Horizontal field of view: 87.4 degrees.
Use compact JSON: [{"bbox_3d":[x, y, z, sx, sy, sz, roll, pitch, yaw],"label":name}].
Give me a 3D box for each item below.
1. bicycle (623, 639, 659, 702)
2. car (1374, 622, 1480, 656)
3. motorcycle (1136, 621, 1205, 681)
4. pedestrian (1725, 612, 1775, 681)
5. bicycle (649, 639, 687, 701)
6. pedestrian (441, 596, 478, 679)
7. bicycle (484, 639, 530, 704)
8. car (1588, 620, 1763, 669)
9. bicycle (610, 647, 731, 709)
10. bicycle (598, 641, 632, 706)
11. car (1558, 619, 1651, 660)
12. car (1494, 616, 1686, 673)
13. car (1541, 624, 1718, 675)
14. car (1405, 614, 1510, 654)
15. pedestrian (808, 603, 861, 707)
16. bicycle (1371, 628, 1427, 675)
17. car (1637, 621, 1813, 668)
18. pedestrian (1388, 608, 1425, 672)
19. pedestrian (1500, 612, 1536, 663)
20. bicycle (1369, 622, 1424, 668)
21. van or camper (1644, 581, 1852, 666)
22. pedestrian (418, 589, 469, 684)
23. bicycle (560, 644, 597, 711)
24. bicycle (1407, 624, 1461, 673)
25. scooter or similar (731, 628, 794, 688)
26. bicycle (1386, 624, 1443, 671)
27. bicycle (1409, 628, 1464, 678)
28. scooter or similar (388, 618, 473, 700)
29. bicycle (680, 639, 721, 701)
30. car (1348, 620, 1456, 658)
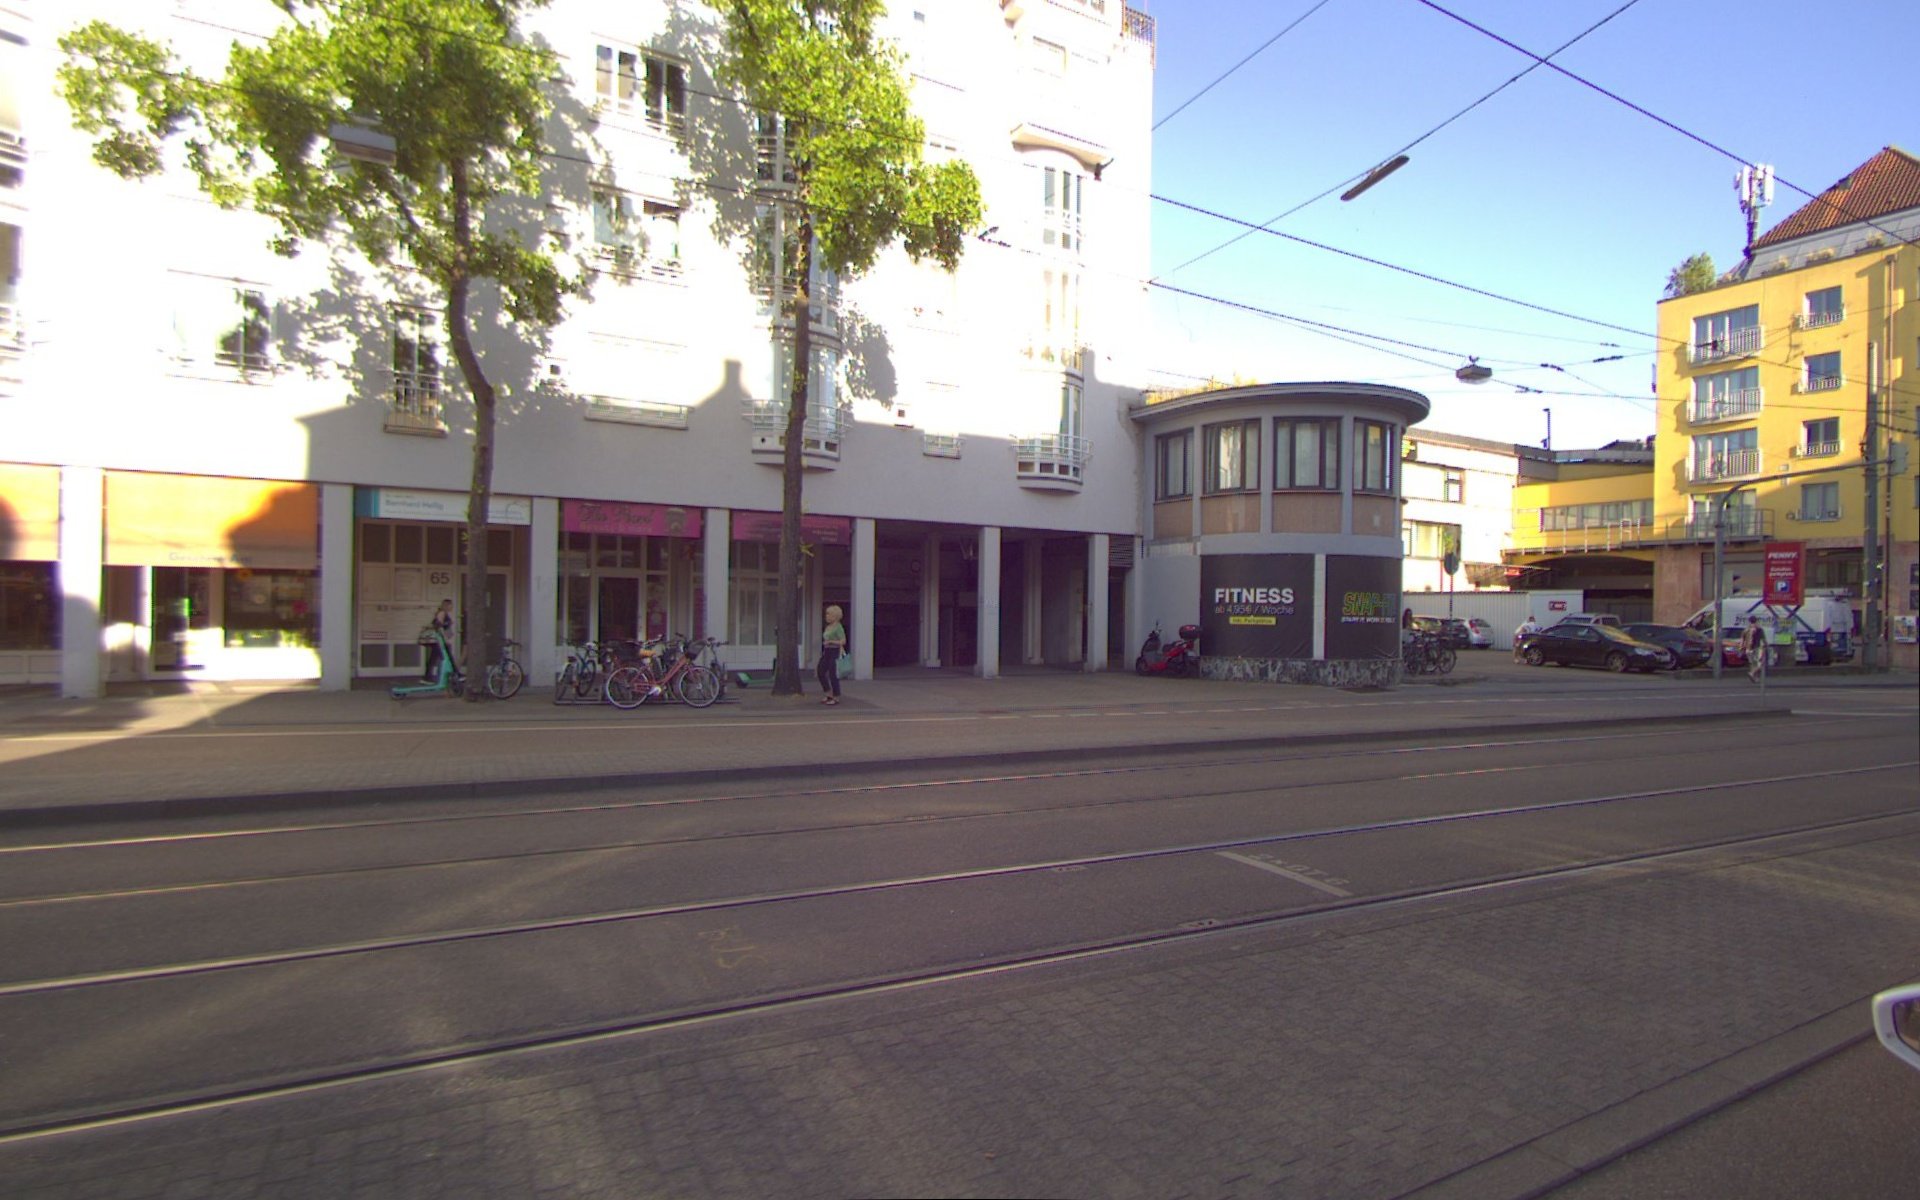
[{"bbox_3d":[-5.469,1.176,17.182,0.384,0.924,1.840,1,1,-23],"label":"bicycle"},{"bbox_3d":[21.230,1.755,45.815,1.978,1.372,3.966,1,0,-31],"label":"car"},{"bbox_3d":[5.034,1.198,24.141,0.555,1.296,1.746,0,2,-31],"label":"motorcycle"},{"bbox_3d":[21.925,1.266,27.870,0.898,1.857,0.829,0,0,-30],"label":"pedestrian"},{"bbox_3d":[-5.076,1.189,17.425,0.384,0.924,1.840,1,1,-23],"label":"bicycle"},{"bbox_3d":[-9.876,0.727,19.820,0.624,1.597,0.557,1,0,-28],"label":"pedestrian"},{"bbox_3d":[-7.535,1.162,16.669,0.414,0.924,1.760,1,1,-33],"label":"bicycle"},{"bbox_3d":[24.334,1.458,34.342,1.856,1.495,4.569,1,-1,-28],"label":"car"},{"bbox_3d":[-4.667,1.244,16.260,1.828,0.924,0.386,1,1,-29],"label":"bicycle"},{"bbox_3d":[-5.837,1.205,16.938,0.384,0.924,1.840,1,1,-23],"label":"bicycle"},{"bbox_3d":[29.199,1.780,45.474,4.073,1.759,1.983,1,-1,-31],"label":"car"},{"bbox_3d":[19.723,1.341,31.710,1.856,1.604,4.874,1,-1,-28],"label":"car"},{"bbox_3d":[21.959,1.571,33.154,1.856,1.495,4.569,1,-1,-28],"label":"car"},{"bbox_3d":[23.256,1.577,47.054,1.978,1.723,3.966,1,0,-31],"label":"car"},{"bbox_3d":[-2.136,0.931,17.181,0.809,1.739,0.632,1,0,-2],"label":"pedestrian"},{"bbox_3d":[11.696,1.344,26.766,1.811,1.203,0.440,1,0,-33],"label":"bicycle"},{"bbox_3d":[26.627,1.500,35.149,1.856,1.495,4.569,1,-1,-28],"label":"car"},{"bbox_3d":[12.311,1.084,27.689,0.675,1.719,0.677,0,0,-31],"label":"pedestrian"},{"bbox_3d":[18.874,1.244,33.974,0.826,1.691,0.766,0,0,-29],"label":"pedestrian"},{"bbox_3d":[11.916,1.208,27.382,1.811,1.203,0.445,1,0,-33],"label":"bicycle"},{"bbox_3d":[28.592,0.810,36.701,2.286,2.865,5.583,0,0,-28],"label":"van or camper"},{"bbox_3d":[-9.636,0.671,18.749,0.815,1.739,0.627,1,0,-28],"label":"pedestrian"},{"bbox_3d":[-6.227,1.240,16.436,0.383,0.924,1.845,1,1,-16],"label":"bicycle"},{"bbox_3d":[12.247,1.231,25.946,1.813,1.203,0.437,1,0,-35],"label":"bicycle"},{"bbox_3d":[-3.807,1.112,19.396,1.158,1.126,0.336,1,0,-6],"label":"scooter or similar"},{"bbox_3d":[11.945,1.230,26.382,1.811,1.203,0.445,1,0,-33],"label":"bicycle"},{"bbox_3d":[11.975,1.302,25.227,1.813,1.203,0.442,1,0,-36],"label":"bicycle"},{"bbox_3d":[-8.600,0.951,16.335,1.161,1.296,0.377,1,3,-18],"label":"scooter or similar"},{"bbox_3d":[-4.589,1.205,17.705,0.384,0.924,1.840,1,1,-23],"label":"bicycle"},{"bbox_3d":[19.479,1.688,44.380,1.978,1.528,3.966,1,0,-31],"label":"car"}]
